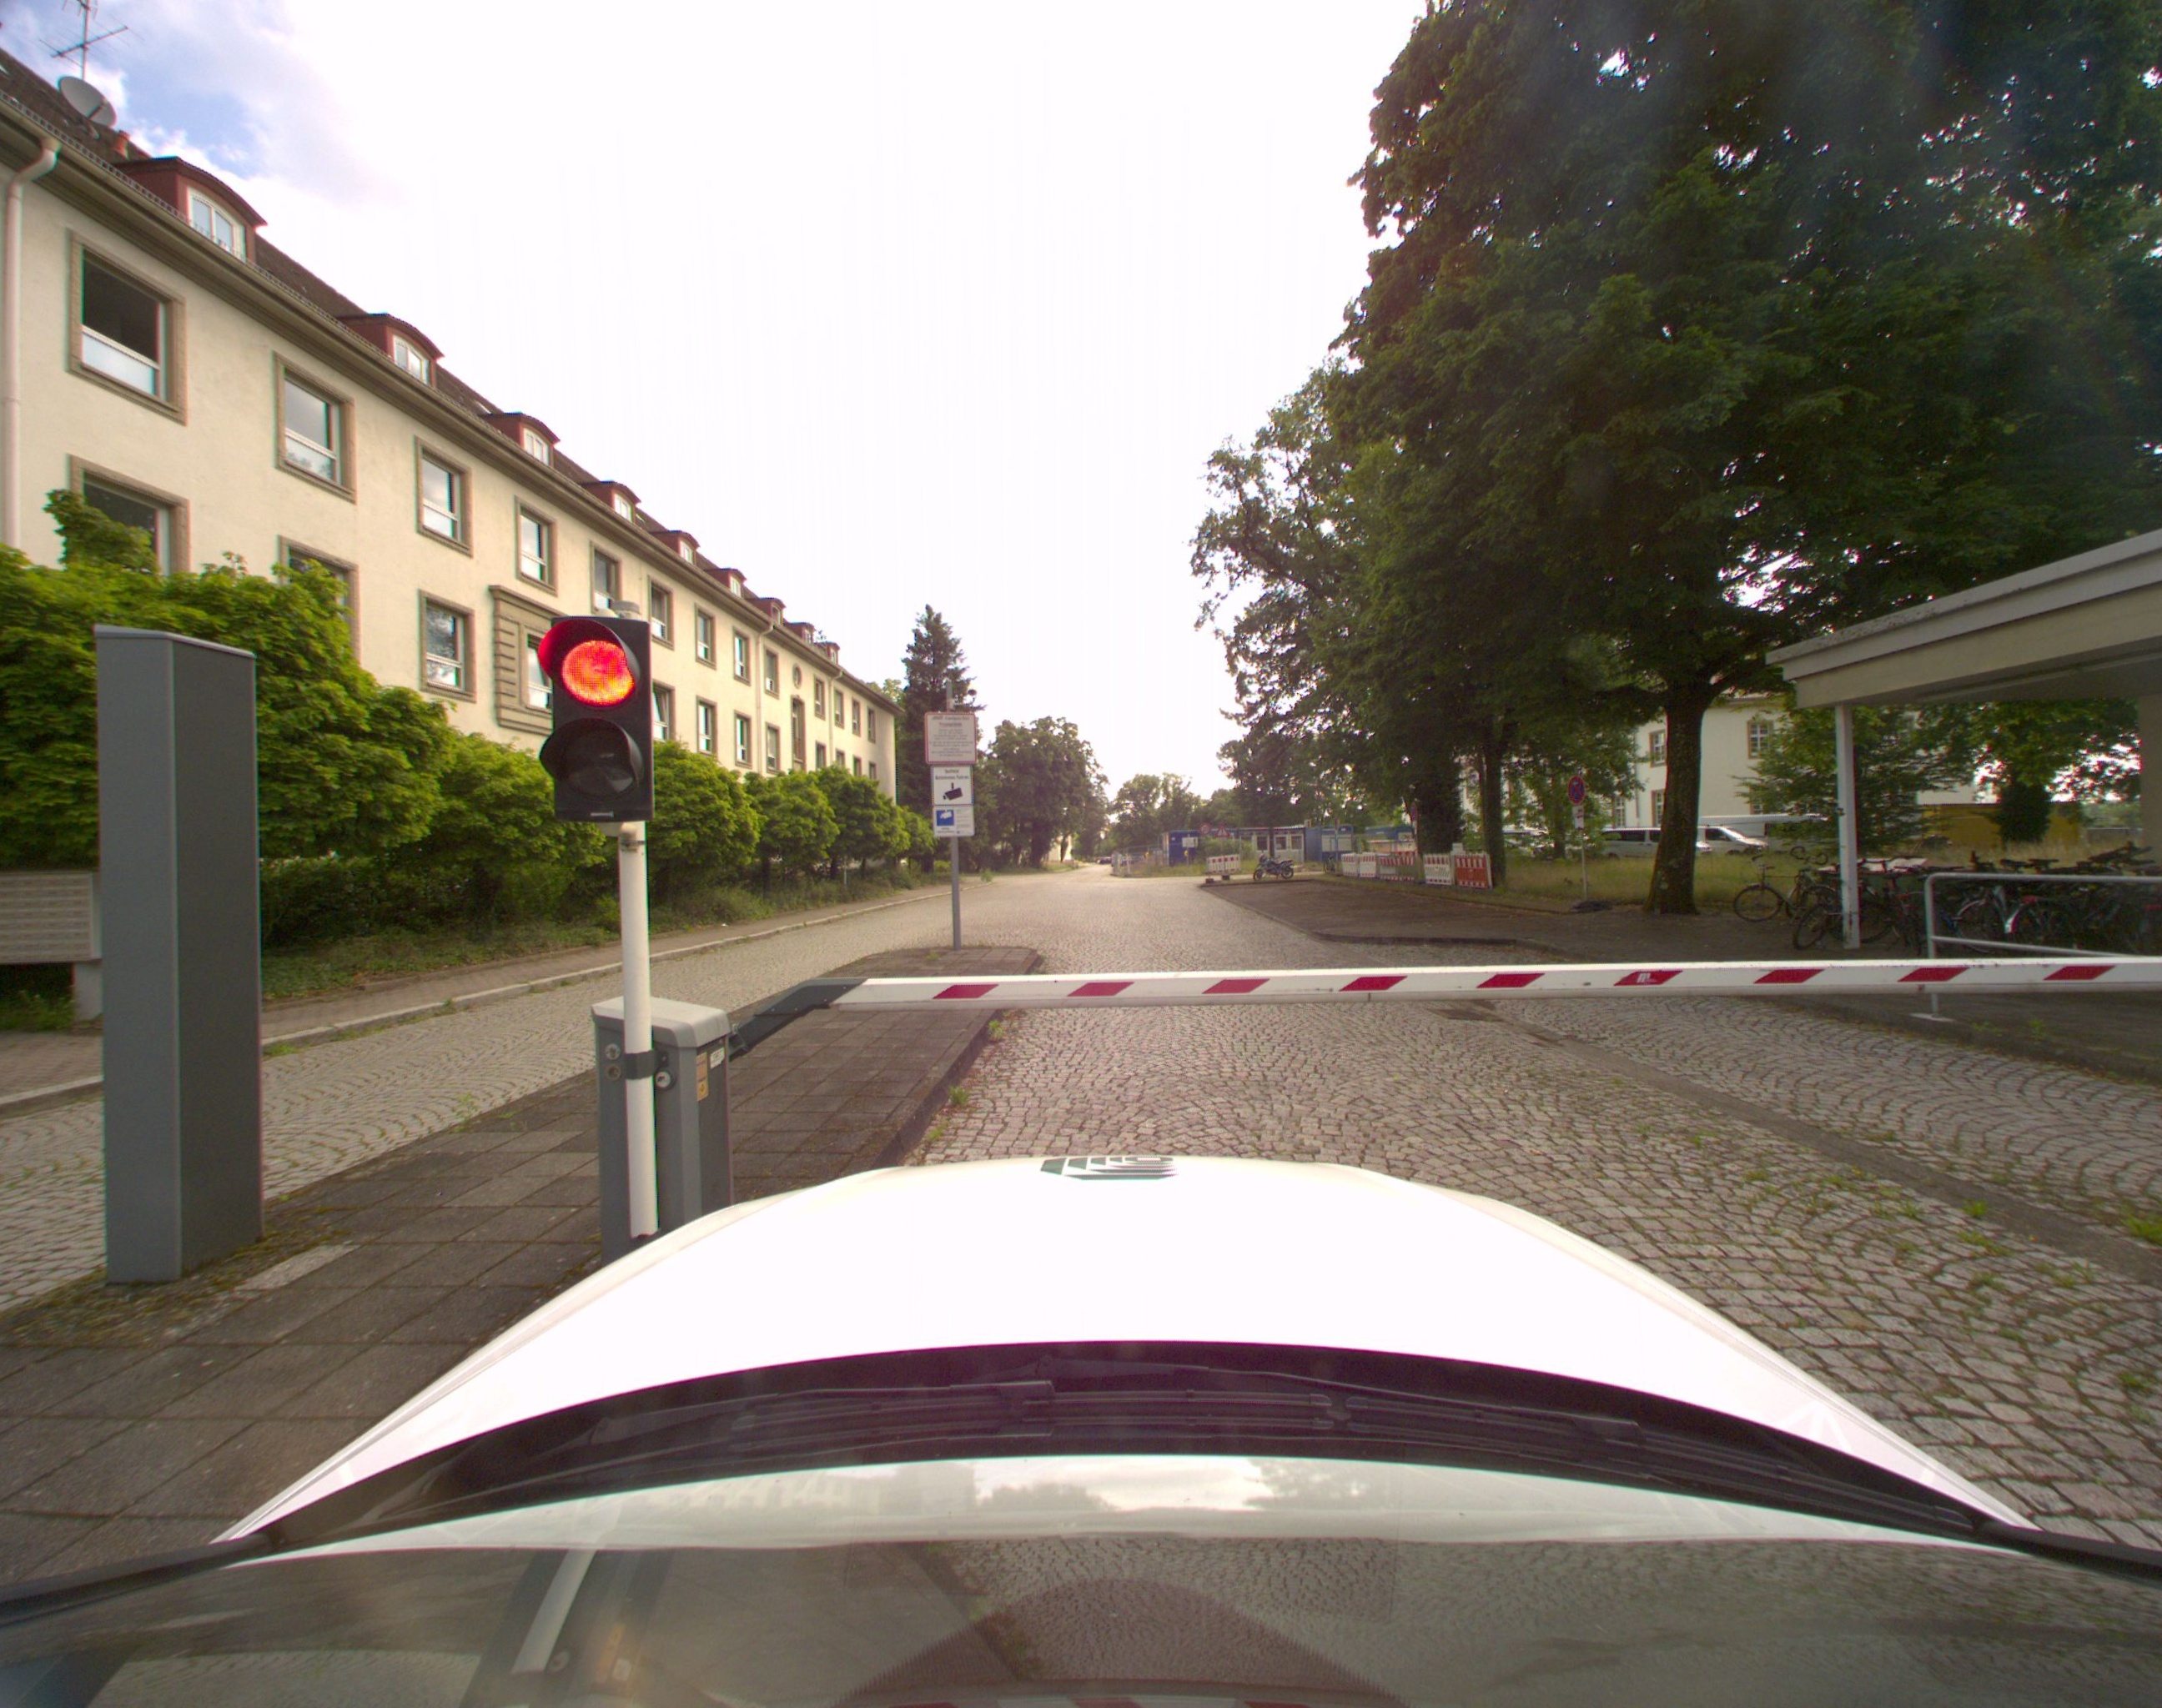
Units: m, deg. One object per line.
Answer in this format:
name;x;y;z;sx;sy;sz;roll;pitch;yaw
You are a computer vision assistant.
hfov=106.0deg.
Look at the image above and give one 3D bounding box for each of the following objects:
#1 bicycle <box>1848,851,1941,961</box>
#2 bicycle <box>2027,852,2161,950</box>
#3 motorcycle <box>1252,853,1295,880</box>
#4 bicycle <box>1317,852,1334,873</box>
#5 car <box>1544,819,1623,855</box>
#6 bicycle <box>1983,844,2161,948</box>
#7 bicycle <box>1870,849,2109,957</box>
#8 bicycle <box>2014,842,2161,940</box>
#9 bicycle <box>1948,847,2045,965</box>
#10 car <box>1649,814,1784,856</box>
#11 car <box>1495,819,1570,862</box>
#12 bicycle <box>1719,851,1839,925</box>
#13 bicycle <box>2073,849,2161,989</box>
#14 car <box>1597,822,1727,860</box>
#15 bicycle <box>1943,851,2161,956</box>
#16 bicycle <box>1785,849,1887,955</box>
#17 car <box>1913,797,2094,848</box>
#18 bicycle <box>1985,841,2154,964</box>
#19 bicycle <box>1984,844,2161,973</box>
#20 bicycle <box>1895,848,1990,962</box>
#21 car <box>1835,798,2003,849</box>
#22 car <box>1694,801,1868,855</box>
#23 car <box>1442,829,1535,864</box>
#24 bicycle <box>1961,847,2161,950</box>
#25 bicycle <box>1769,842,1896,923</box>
bicycle;9.368;0.571;9.371;1.387;1.171;0.355;-1;-3;-30
bicycle;12.184;0.530;9.279;0.371;1.083;1.892;-2;-2;-8
motorcycle;9.462;0.613;40.052;1.950;1.194;0.461;-3;4;0
bicycle;12.468;0.454;41.521;0.330;1.008;1.726;-2;-2;2
car;30.870;-0.994;50.237;1.986;2.013;4.842;-2;0;2
bicycle;11.771;0.454;9.405;0.371;1.119;1.893;-2;0;-8
bicycle;10.461;0.530;9.478;0.446;1.119;1.785;-1;-1;-23
bicycle;12.645;0.431;9.901;0.370;1.128;1.898;-2;-2;1
bicycle;9.780;0.530;8.689;1.387;1.171;0.355;-1;-3;-30
car;31.175;-0.891;40.131;2.004;1.789;4.799;-1;-1;-26
car;27.245;-0.743;49.398;1.984;2.424;5.365;-2;-1;6
bicycle;11.084;0.500;12.996;0.503;1.086;1.585;-2;0;-1
bicycle;9.888;0.541;7.373;1.749;1.171;0.494;-2;-3;-18
car;28.392;-0.582;40.008;2.004;1.650;4.799;-1;-1;-26
bicycle;11.058;0.511;9.208;0.371;1.067;1.907;-2;0;-8
bicycle;9.167;0.558;9.878;1.387;1.171;0.429;-3;-2;-29
car;44.301;-1.444;39.410;2.431;1.957;5.698;-2;-2;4
bicycle;10.161;0.489;8.379;1.377;1.171;0.358;-2;-2;-7
bicycle;9.910;0.512;7.964;1.796;1.171;0.358;-2;-2;-4
bicycle;9.536;0.537;9.006;1.387;1.171;0.355;-1;-3;-30
car;40.444;-1.394;39.591;2.431;1.957;5.698;-2;-2;4
car;34.293;-1.196;40.183;2.005;2.308;6.142;-1;-1;-29
car;22.912;-0.397;45.899;4.201;1.820;2.002;-2;-1;4
bicycle;11.406;0.488;9.324;0.371;1.081;1.893;-2;-2;-8
bicycle;11.689;0.450;12.728;0.502;1.171;1.555;-2;-2;2
